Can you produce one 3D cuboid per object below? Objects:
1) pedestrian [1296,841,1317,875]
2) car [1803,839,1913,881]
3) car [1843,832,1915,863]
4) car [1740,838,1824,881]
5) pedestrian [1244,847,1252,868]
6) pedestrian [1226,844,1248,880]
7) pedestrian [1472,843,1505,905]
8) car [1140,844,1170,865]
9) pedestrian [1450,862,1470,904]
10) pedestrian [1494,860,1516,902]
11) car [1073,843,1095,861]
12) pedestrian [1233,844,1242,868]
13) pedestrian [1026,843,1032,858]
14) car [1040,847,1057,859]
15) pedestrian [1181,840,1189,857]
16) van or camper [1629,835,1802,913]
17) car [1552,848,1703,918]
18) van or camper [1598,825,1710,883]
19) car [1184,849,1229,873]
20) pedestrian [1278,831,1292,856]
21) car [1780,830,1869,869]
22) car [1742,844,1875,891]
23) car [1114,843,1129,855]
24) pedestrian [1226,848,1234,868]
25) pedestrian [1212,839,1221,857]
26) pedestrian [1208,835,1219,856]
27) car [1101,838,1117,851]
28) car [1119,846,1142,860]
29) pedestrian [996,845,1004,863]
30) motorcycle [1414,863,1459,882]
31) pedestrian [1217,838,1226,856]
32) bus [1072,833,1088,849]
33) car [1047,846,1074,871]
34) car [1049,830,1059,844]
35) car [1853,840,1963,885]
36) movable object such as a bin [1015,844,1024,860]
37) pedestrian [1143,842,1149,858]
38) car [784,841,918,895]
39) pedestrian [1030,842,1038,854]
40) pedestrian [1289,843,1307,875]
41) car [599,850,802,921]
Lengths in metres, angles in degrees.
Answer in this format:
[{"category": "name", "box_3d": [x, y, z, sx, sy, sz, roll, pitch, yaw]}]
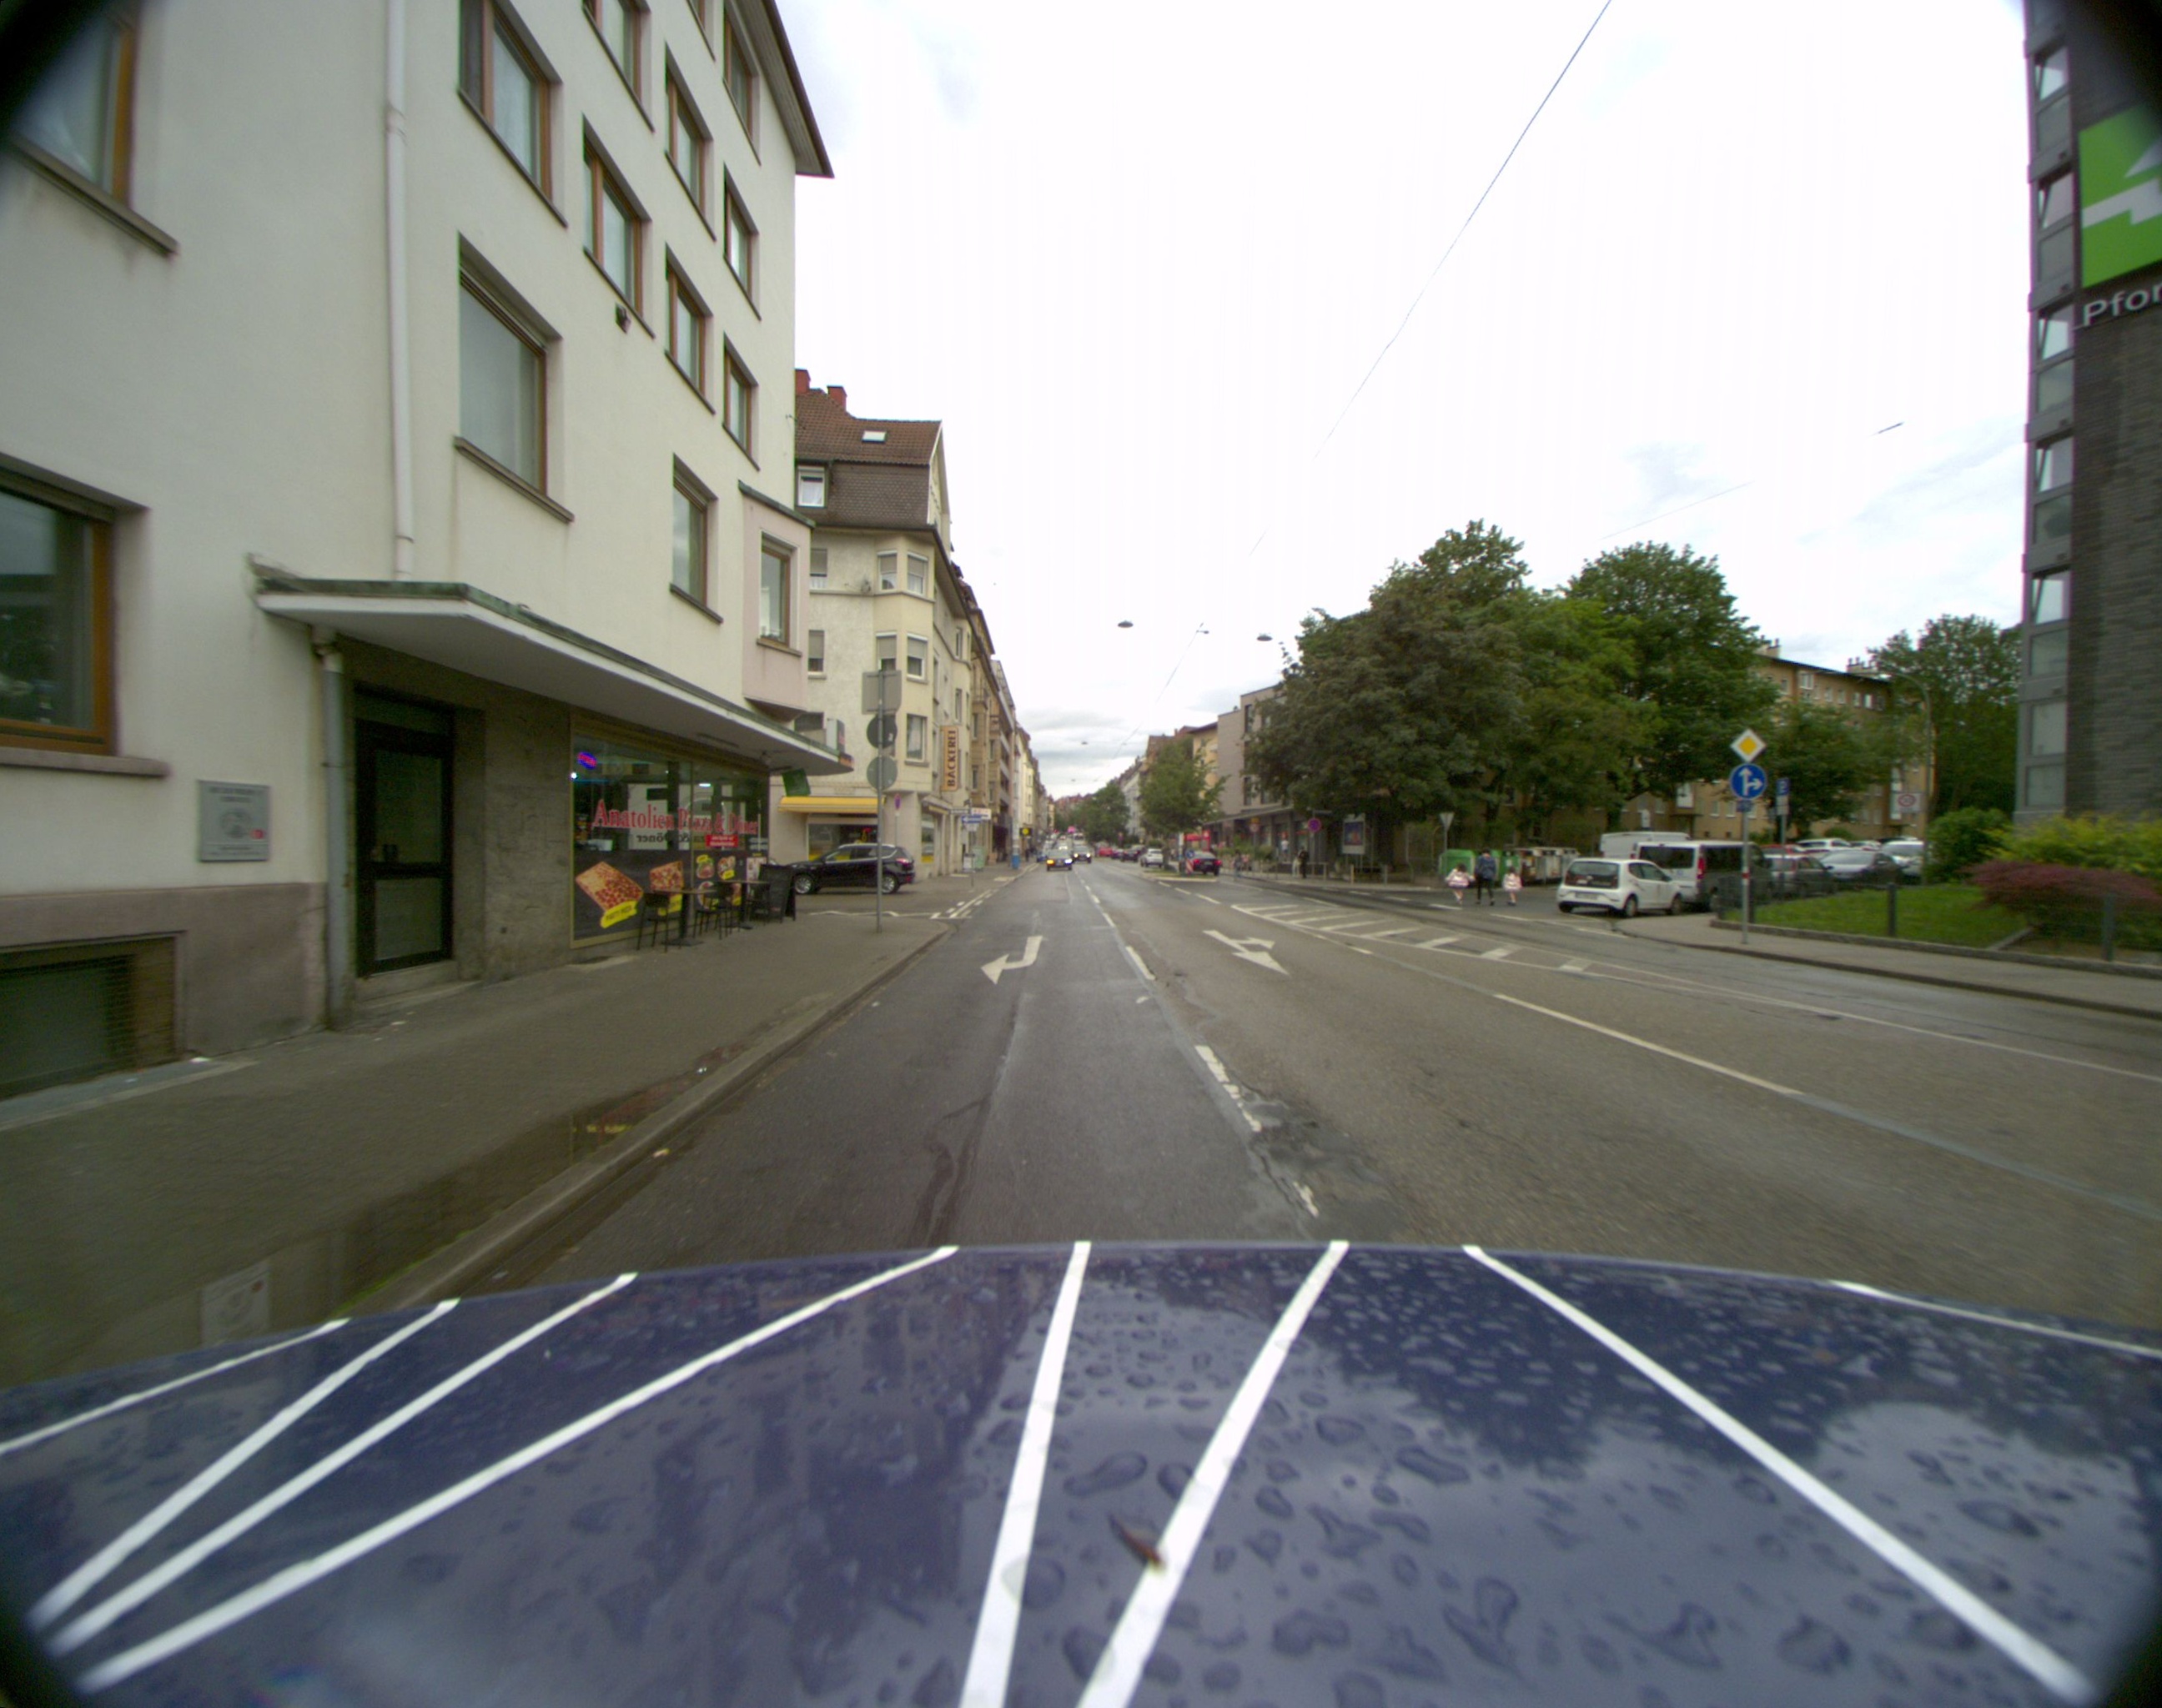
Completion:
[{"category": "pedestrian", "box_3d": [12.155, 0.220, 40.985, 0.863, 1.834, 0.693, 0, 1, -16]}, {"category": "car", "box_3d": [28.398, 0.182, 27.767, 4.006, 1.456, 1.690, 0, 1, -27]}, {"category": "car", "box_3d": [46.182, -0.379, 43.949, 4.006, 1.741, 1.995, 0, 1, -30]}, {"category": "car", "box_3d": [35.816, 0.223, 38.814, 4.006, 2.002, 1.995, -2, 2, -29]}, {"category": "pedestrian", "box_3d": [11.727, 0.275, 53.336, 0.461, 1.465, 0.530, 0, 1, -5]}, {"category": "pedestrian", "box_3d": [7.954, 0.408, 38.797, 0.724, 1.815, 0.853, -1, 1, -24]}, {"category": "pedestrian", "box_3d": [11.636, 0.571, 21.711, 0.576, 1.752, 0.580, 0, 1, -8]}, {"category": "car", "box_3d": [6.187, 0.040, 63.928, 1.825, 1.560, 4.087, 4, 0, -3]}, {"category": "pedestrian", "box_3d": [10.867, 0.832, 21.790, 0.410, 1.191, 0.310, 0, 1, -8]}, {"category": "pedestrian", "box_3d": [12.183, 0.774, 21.823, 0.410, 1.191, 0.358, 0, 1, -8]}, {"category": "car", "box_3d": [0.266, -0.200, 74.278, 1.856, 1.646, 4.203, 0, 0, -4]}, {"category": "pedestrian", "box_3d": [11.014, 0.116, 53.592, 0.499, 1.664, 0.552, 0, 1, -5]}, {"category": "pedestrian", "box_3d": [-5.797, -0.351, 85.135, 0.627, 1.642, 0.748, 0, 1, -2]}, {"category": "car", "box_3d": [-3.658, -0.144, 85.515, 1.739, 1.303, 3.766, -2, 1, 0]}, {"category": "pedestrian", "box_3d": [11.111, -0.546, 81.164, 0.591, 1.809, 0.869, 0, 1, -10]}, {"category": "van or camper", "box_3d": [18.572, 0.511, 22.219, 4.974, 2.002, 1.996, -2, 1, -26]}, {"category": "car", "box_3d": [14.206, 0.683, 19.748, 3.594, 1.561, 1.736, -1, 3, -28]}, {"category": "van or camper", "box_3d": [24.626, -0.038, 32.639, 4.625, 2.253, 2.206, -3, 1, -31]}, {"category": "car", "box_3d": [7.875, 0.429, 48.144, 2.019, 1.417, 4.498, 0, 1, -2]}, {"category": "pedestrian", "box_3d": [15.011, -0.769, 55.960, 0.724, 1.815, 0.720, -1, 1, -30]}, {"category": "car", "box_3d": [40.415, -0.230, 41.311, 4.005, 2.002, 1.996, 0, 1, -22]}, {"category": "car", "box_3d": [23.815, 0.402, 24.880, 3.734, 1.435, 1.995, 0, 1, -27]}, {"category": "car", "box_3d": [5.442, -0.701, 103.149, 1.959, 1.503, 4.912, 0, 1, 3]}, {"category": "pedestrian", "box_3d": [10.529, 0.287, 53.563, 0.434, 1.402, 0.481, 0, 1, -5]}, {"category": "pedestrian", "box_3d": [12.931, -0.565, 72.740, 0.715, 1.669, 0.713, 0, 1, -2]}, {"category": "pedestrian", "box_3d": [11.573, -0.712, 66.307, 0.724, 1.815, 0.720, -1, 1, -21]}, {"category": "car", "box_3d": [4.309, -1.488, 117.346, 2.112, 1.755, 5.056, 2, 2, -2]}, {"category": "car", "box_3d": [5.595, -0.109, 86.436, 1.960, 1.548, 4.241, 2, 1, -4]}, {"category": "pedestrian", "box_3d": [-6.962, 0.003, 65.023, 0.563, 1.564, 0.626, -1, 1, -18]}, {"category": "motorcycle", "box_3d": [19.538, 1.023, 41.793, 2.055, 0.982, 0.797, -2, 1, 13]}, {"category": "pedestrian", "box_3d": [13.218, -0.648, 71.478, 0.711, 1.669, 0.801, 0, 1, 26]}, {"category": "bus", "box_3d": [-0.209, -3.066, 172.144, 2.813, 3.228, 11.954, 4, 1, -3]}, {"category": "car", "box_3d": [-1.391, 0.281, 52.876, 1.734, 1.539, 3.979, 1, 3, 0]}, {"category": "car", "box_3d": [-7.276, -4.559, 203.946, 2.554, 3.613, 9.045, 0, 2, -3]}, {"category": "car", "box_3d": [33.587, 0.296, 30.863, 4.006, 1.718, 1.995, 0, 1, -27]}, {"category": "movable object such as a bin", "box_3d": [-6.960, -0.282, 86.004, 1.002, 1.783, 1.295, 0, 2, -4]}, {"category": "pedestrian", "box_3d": [8.581, -0.517, 100.556, 0.703, 2.002, 0.782, -1, 2, -5]}, {"category": "car", "box_3d": [-7.733, 0.437, 25.943, 4.152, 1.762, 1.871, 0, 1, -10]}, {"category": "pedestrian", "box_3d": [-6.800, -0.888, 110.343, 0.855, 1.739, 1.061, 1, 1, -22]}, {"category": "pedestrian", "box_3d": [11.899, 0.253, 41.671, 0.658, 1.749, 0.719, 0, 1, -25]}, {"category": "car", "box_3d": [-9.325, 0.725, 18.951, 4.120, 1.598, 1.804, 0, 3, -8]}]
